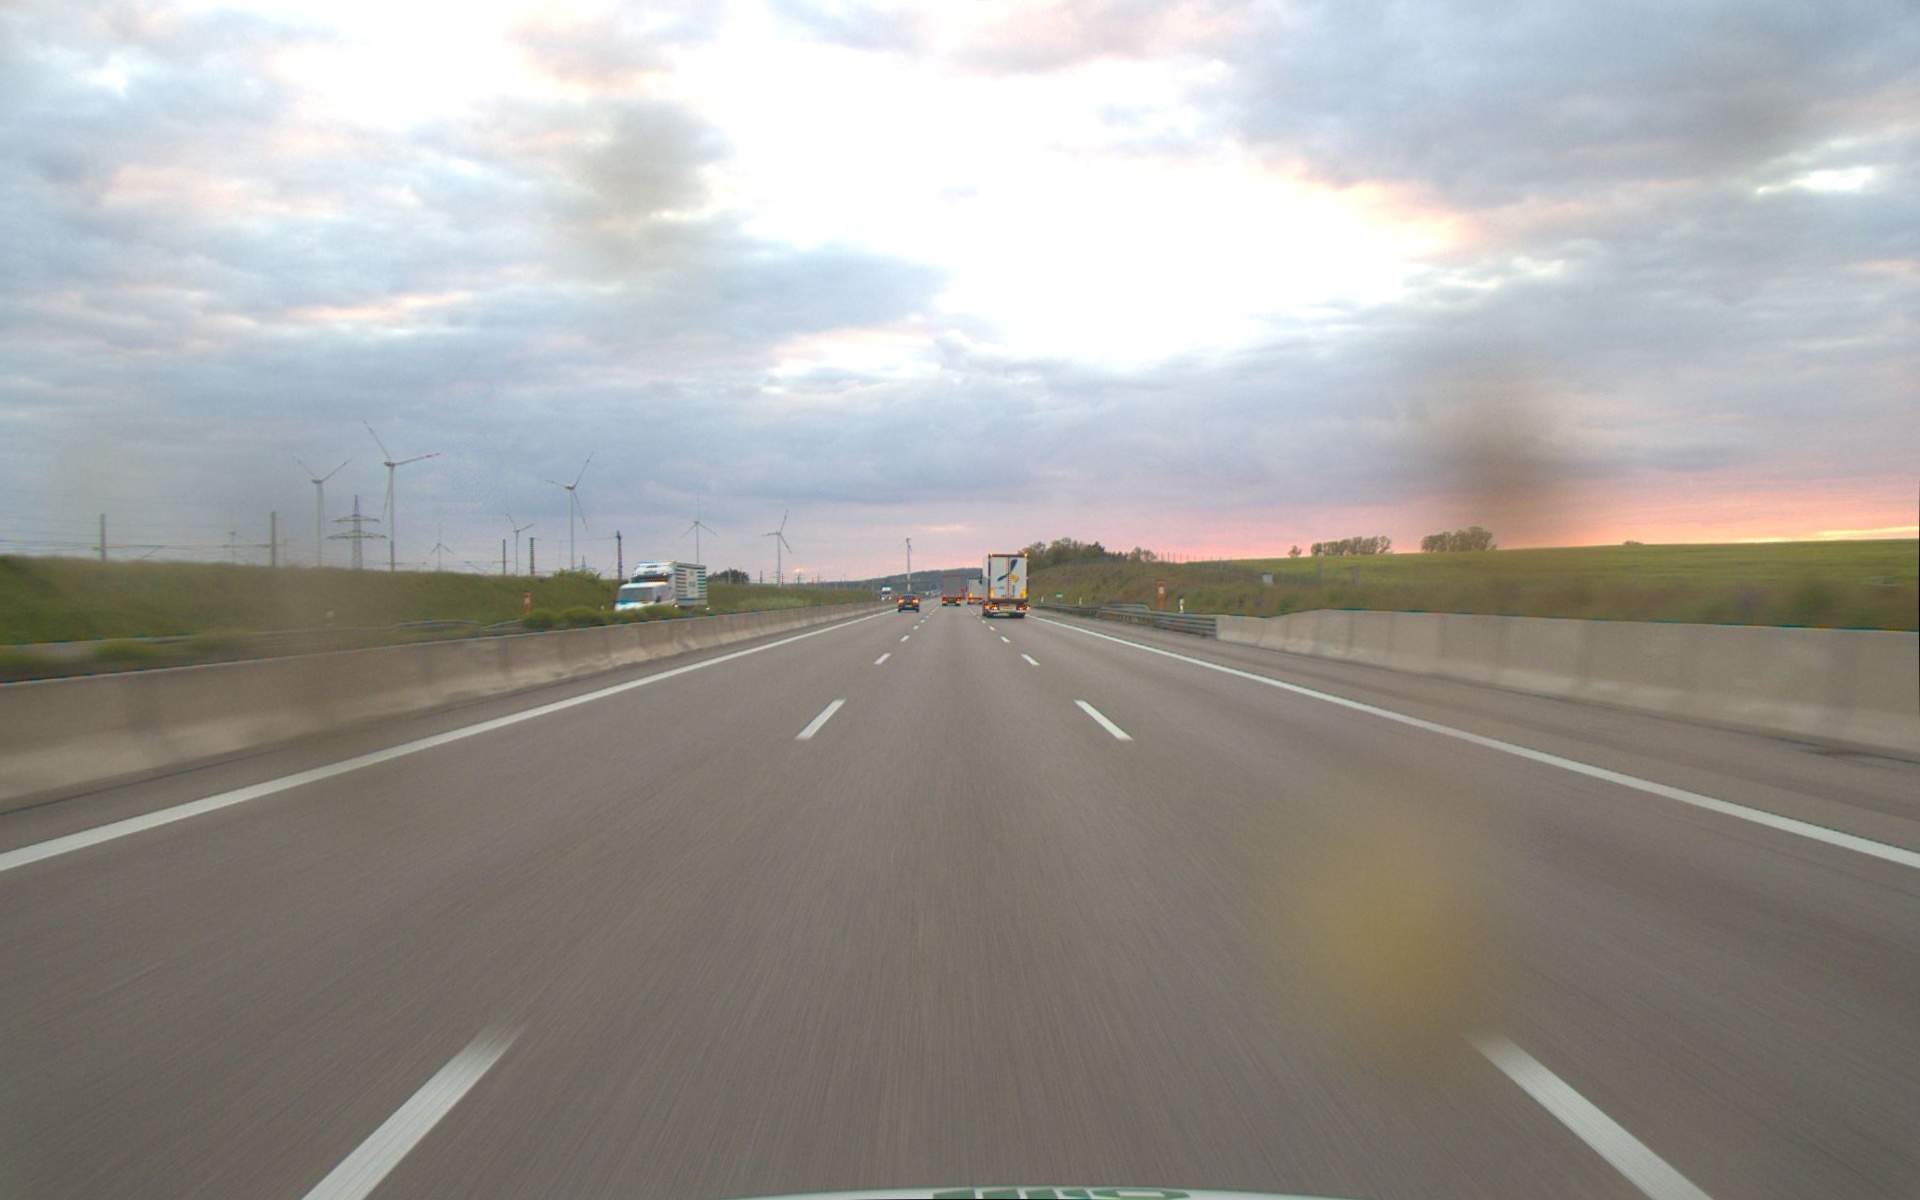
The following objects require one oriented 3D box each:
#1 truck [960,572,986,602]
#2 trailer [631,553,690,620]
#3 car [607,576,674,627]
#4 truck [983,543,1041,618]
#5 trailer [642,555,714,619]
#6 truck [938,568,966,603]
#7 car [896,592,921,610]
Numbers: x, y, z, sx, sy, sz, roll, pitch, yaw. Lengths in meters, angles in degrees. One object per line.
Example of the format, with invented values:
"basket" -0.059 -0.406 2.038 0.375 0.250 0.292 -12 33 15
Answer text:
"truck" 1.922 -2.028 256.788 3.885 4.491 8.635 -1 0 0
"trailer" -19.946 -0.880 110.412 2.632 4.186 6.937 -2 0 -1
"car" -15.863 0.087 82.477 2.084 2.385 6.491 -1 0 0
"truck" 3.384 -1.267 110.121 3.600 4.644 10.982 -1 0 1
"trailer" -20.039 -0.901 118.388 2.632 4.186 15.106 -2 0 -1
"truck" -1.059 -1.870 220.669 3.573 4.491 8.634 -1 0 -1
"car" -4.222 0.076 136.754 1.947 1.454 4.000 -1 1 0
